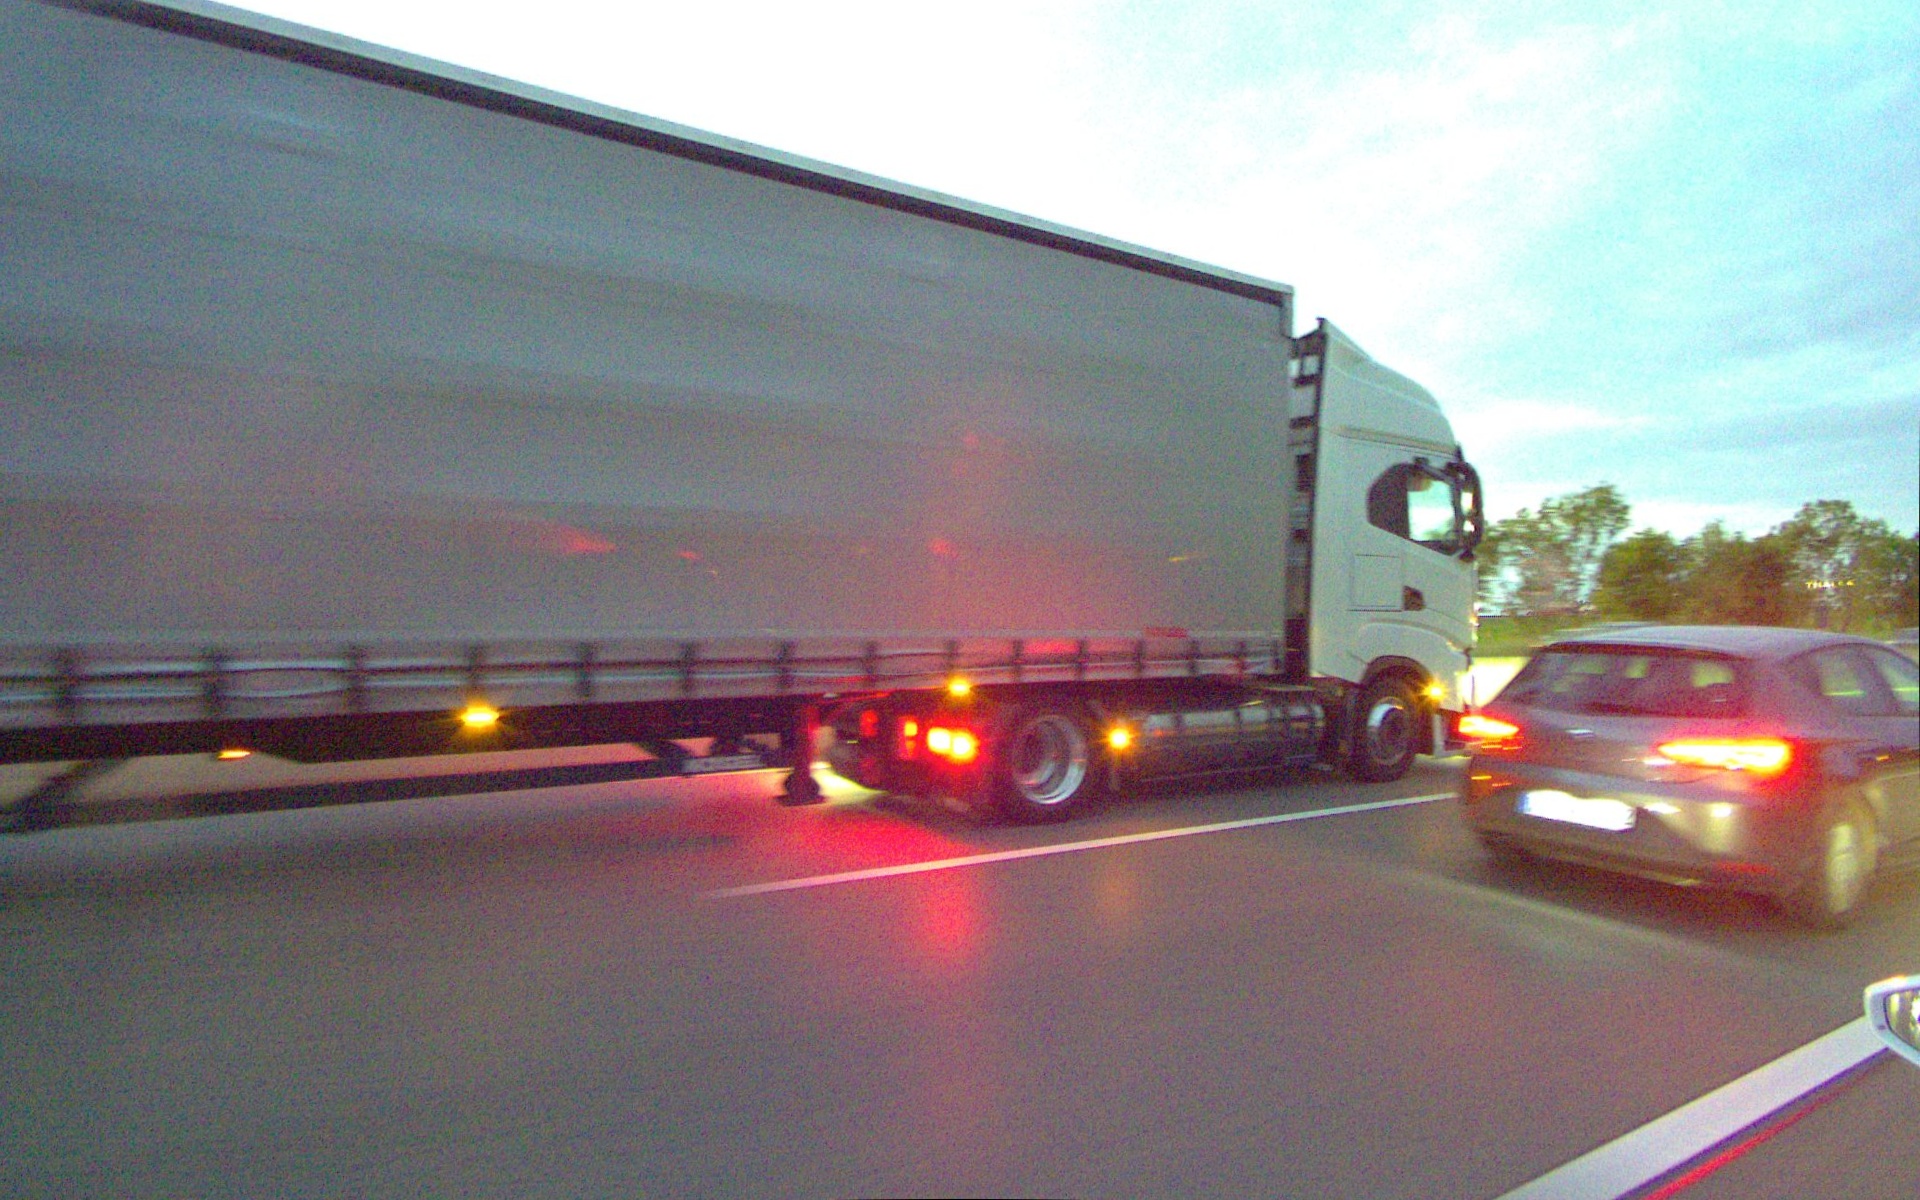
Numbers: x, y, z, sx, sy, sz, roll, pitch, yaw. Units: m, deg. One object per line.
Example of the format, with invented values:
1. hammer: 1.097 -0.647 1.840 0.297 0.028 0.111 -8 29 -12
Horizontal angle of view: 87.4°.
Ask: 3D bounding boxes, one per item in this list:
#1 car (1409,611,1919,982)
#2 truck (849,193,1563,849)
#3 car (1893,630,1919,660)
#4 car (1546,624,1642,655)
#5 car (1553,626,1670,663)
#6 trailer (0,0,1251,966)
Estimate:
1. car: 4.949 0.881 6.074 4.672 1.491 1.714 2 0 -31
2. truck: 2.352 -0.405 9.071 6.031 4.146 2.764 2 -1 -30
3. car: 41.289 1.921 42.481 3.954 1.194 1.657 2 0 -31
4. car: 26.084 1.627 41.316 3.954 1.194 1.709 2 0 -31
5. car: 23.096 1.580 35.590 3.954 1.194 1.922 2 0 -31
6. trailer: -4.772 -0.653 4.882 14.355 4.139 2.781 2 -1 -30
